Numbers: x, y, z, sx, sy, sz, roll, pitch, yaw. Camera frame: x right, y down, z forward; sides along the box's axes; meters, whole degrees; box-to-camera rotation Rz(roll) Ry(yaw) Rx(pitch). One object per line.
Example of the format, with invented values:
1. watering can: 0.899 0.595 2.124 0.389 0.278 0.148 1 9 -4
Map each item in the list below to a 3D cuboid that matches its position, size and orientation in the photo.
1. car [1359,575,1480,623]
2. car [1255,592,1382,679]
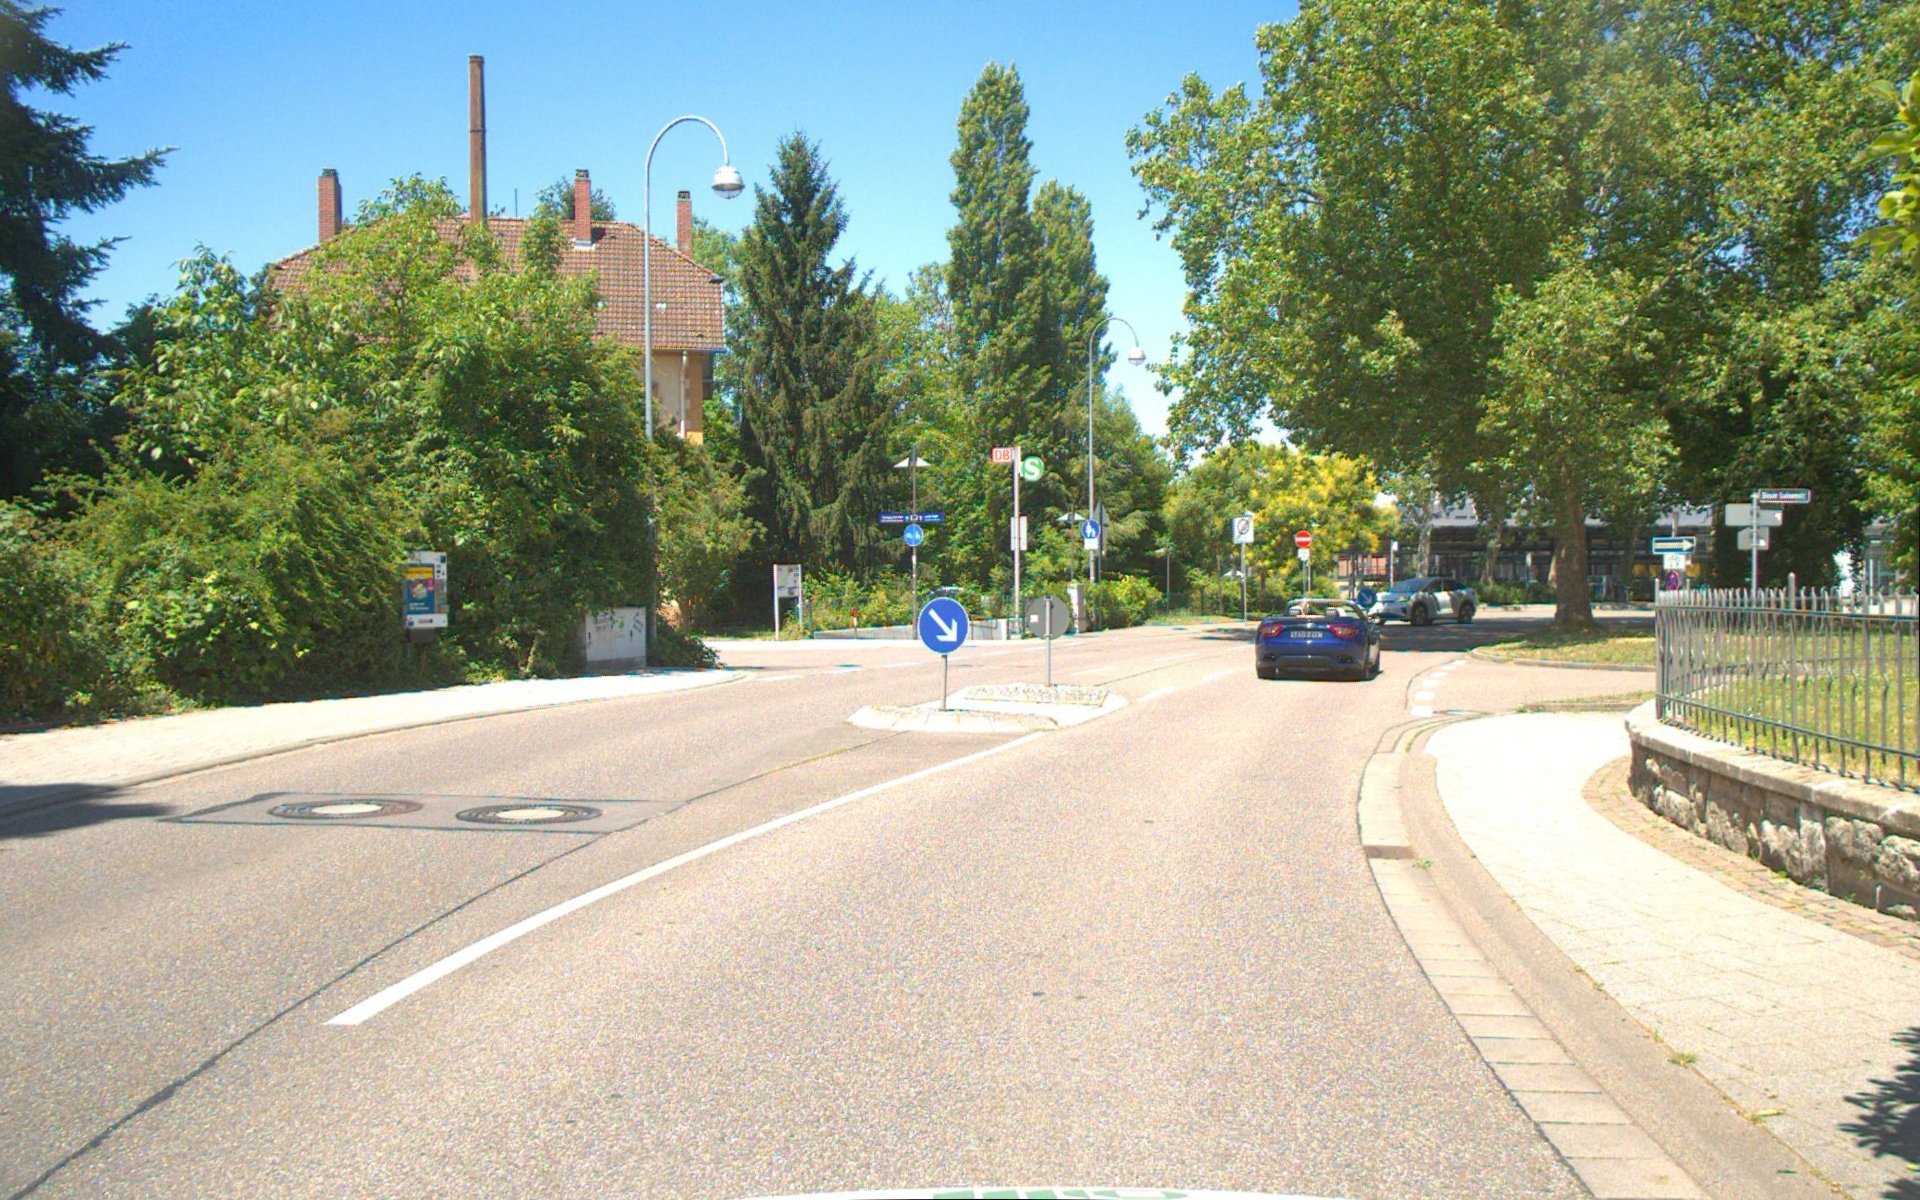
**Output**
1. car: 15.953 -0.046 57.332 4.428 1.604 1.801 0 0 -38
2. car: 6.410 0.563 29.215 1.788 1.360 4.703 0 1 17
